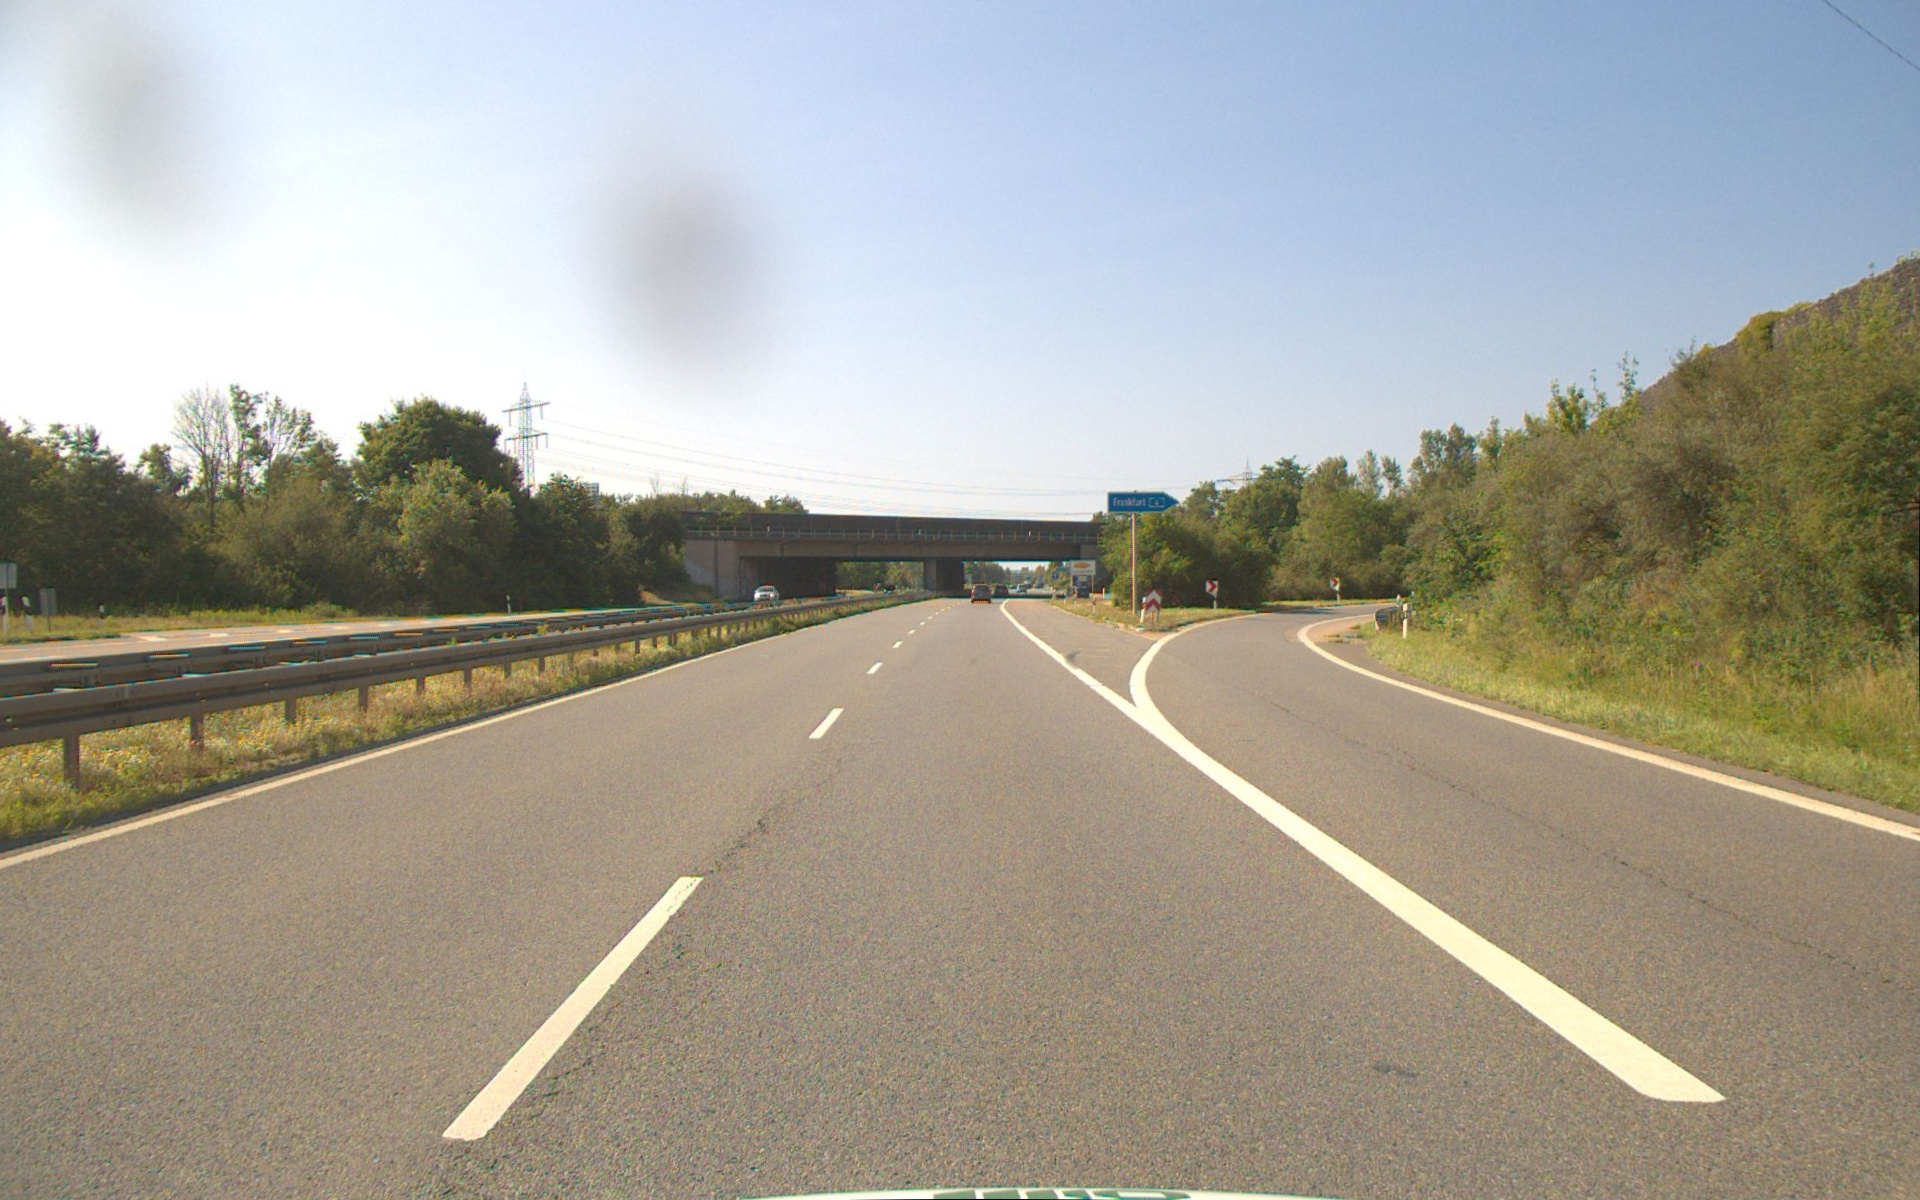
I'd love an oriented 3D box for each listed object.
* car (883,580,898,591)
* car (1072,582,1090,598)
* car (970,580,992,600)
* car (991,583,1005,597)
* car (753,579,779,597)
[{"bbox_3d":[-9.890,-2.072,235.331,1.922,1.434,3.637,-1,1,0],"label":"car"},{"bbox_3d":[13.231,-1.095,180.771,1.811,1.673,4.001,1,0,1],"label":"car"},{"bbox_3d":[1.877,-0.853,145.331,1.811,1.673,4.001,-1,0,1],"label":"car"},{"bbox_3d":[4.729,-1.215,205.308,1.811,1.673,4.001,1,0,1],"label":"car"},{"bbox_3d":[-16.125,-1.038,137.746,1.640,1.434,3.763,1,1,0],"label":"car"}]
